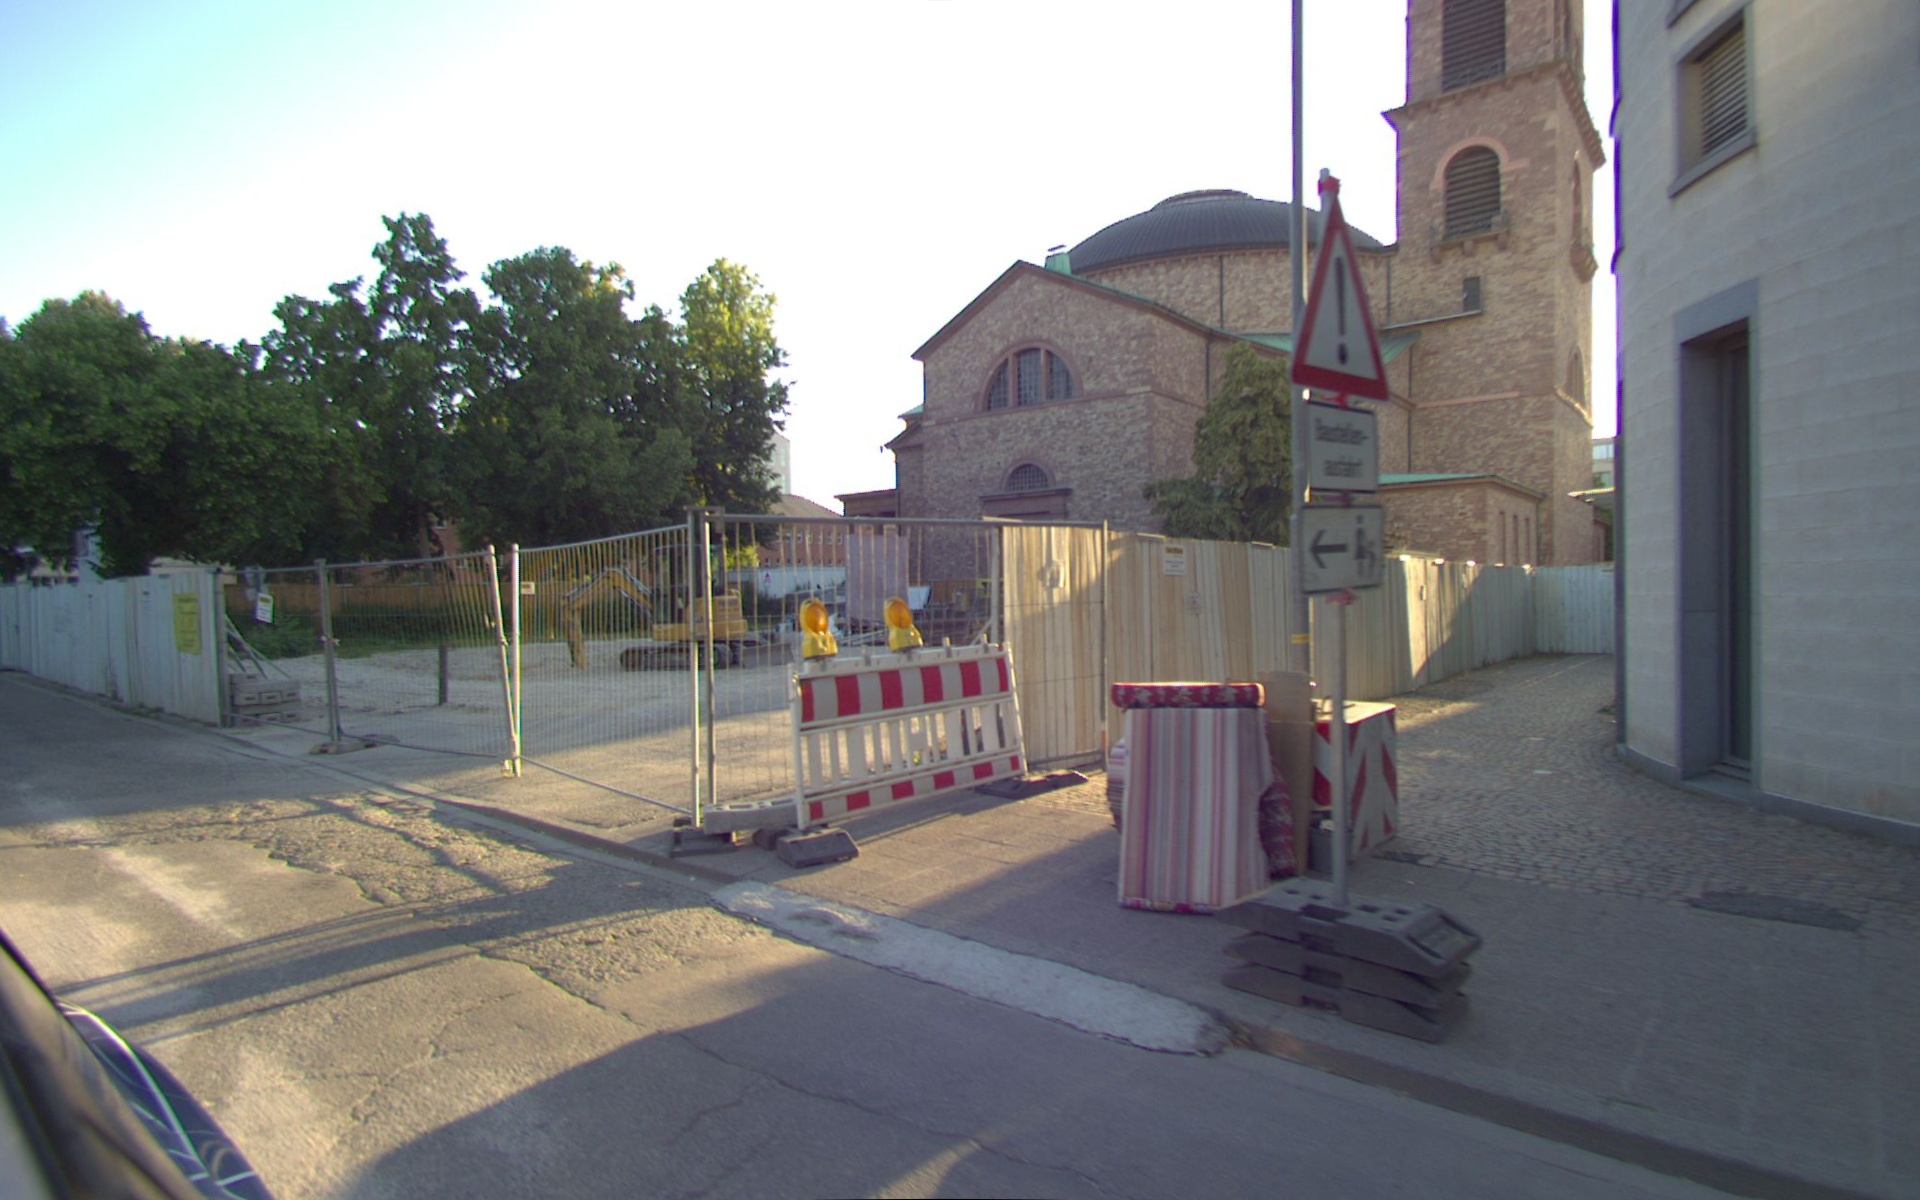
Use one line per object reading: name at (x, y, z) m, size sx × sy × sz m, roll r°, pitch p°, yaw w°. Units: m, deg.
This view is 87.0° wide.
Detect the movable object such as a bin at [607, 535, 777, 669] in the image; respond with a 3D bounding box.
movable object such as a bin at (-5.601, 0.050, 21.303) m, size 2.725 × 2.623 × 2.146 m, roll -1°, pitch 0°, yaw 18°
